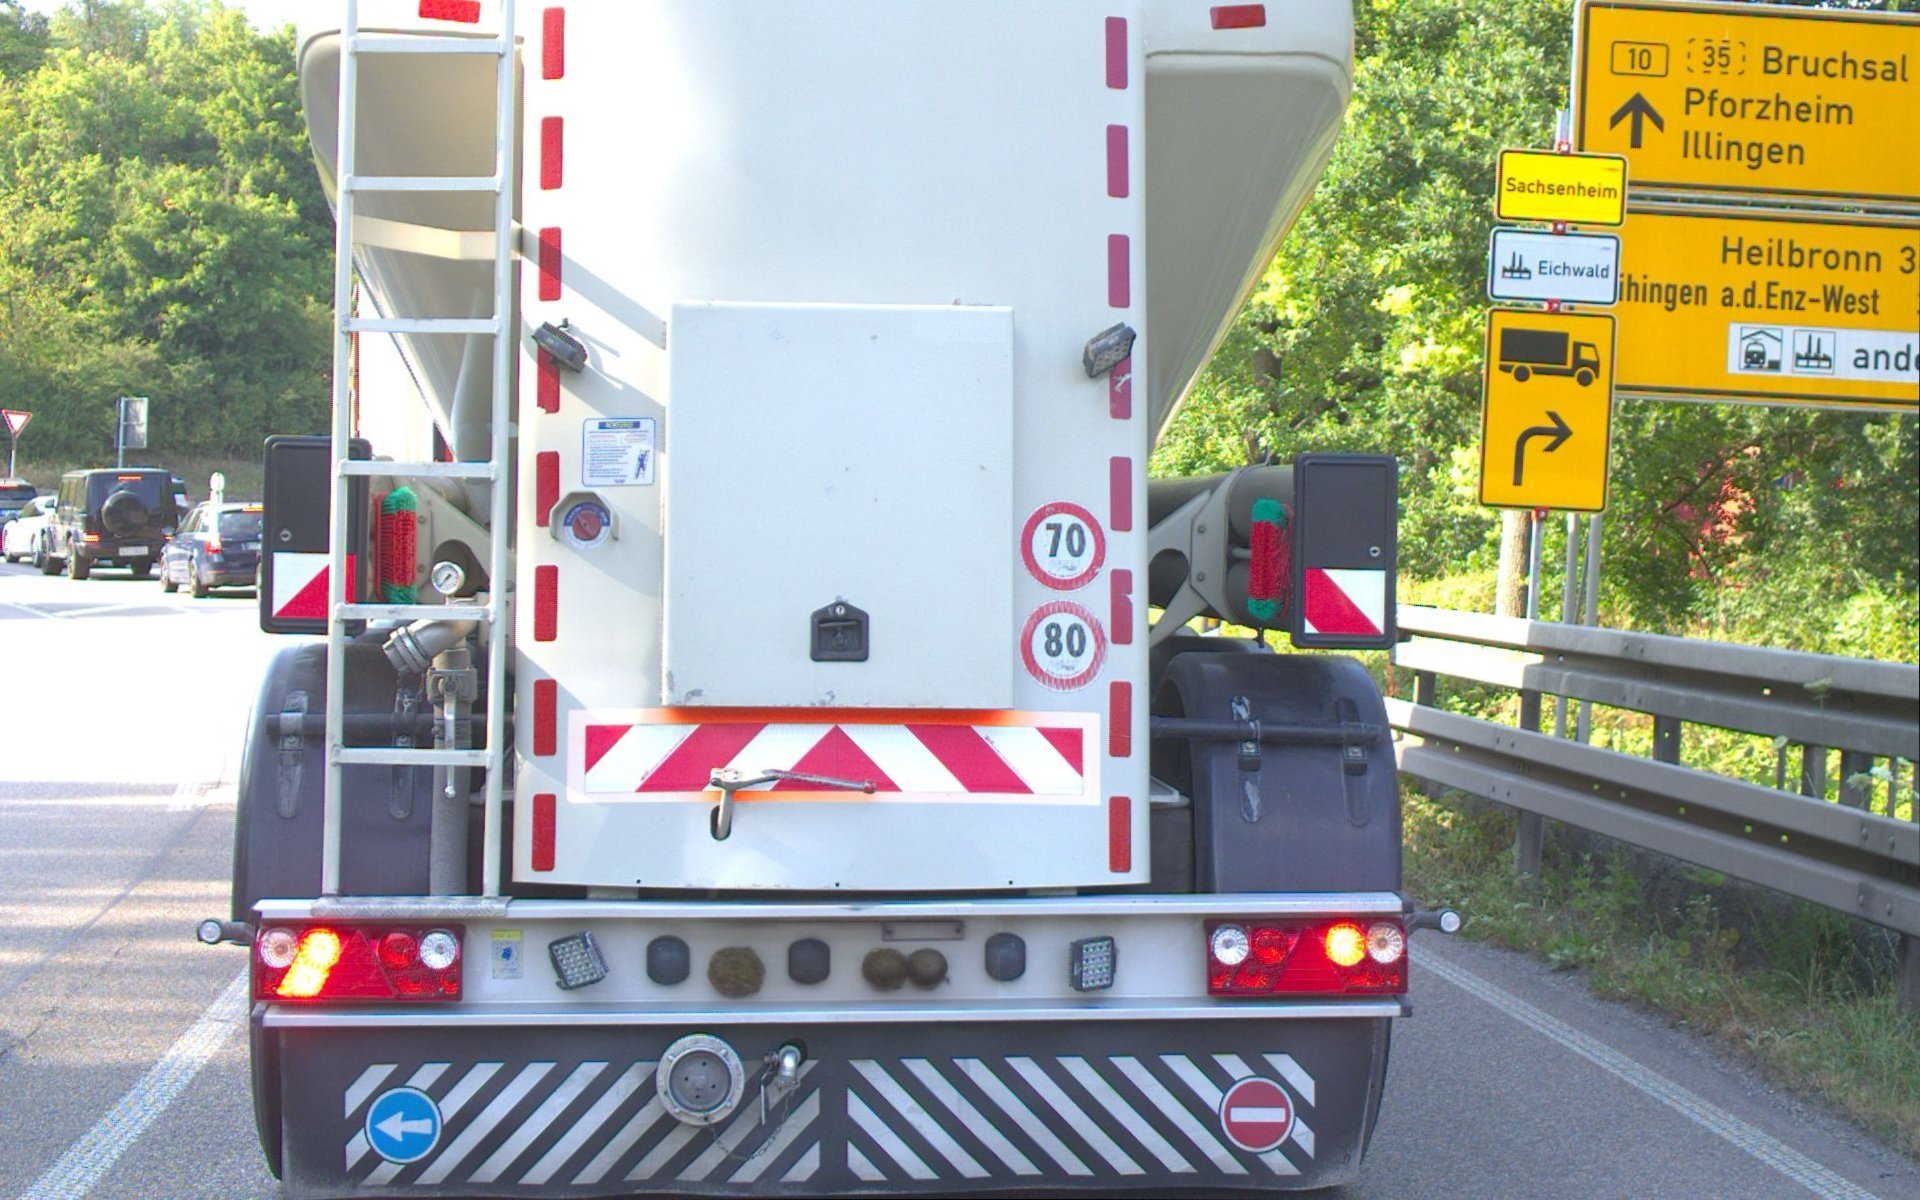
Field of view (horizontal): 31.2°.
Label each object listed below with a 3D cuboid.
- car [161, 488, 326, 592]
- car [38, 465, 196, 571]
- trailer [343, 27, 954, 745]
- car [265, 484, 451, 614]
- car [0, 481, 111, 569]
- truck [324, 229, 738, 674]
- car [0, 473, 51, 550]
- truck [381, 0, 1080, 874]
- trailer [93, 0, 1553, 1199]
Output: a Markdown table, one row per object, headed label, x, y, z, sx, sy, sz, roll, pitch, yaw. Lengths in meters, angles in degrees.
| label | x | y | z | sx | sy | sz | roll | pitch | yaw |
| --- | --- | --- | --- | --- | --- | --- | --- | --- | --- |
| car | -11.232 | -0.965 | 53.700 | 1.867 | 1.559 | 4.001 | -1 | 2 | -21 |
| car | -15.347 | -1.528 | 62.474 | 1.956 | 1.845 | 4.001 | -1 | 3 | -26 |
| trailer | -3.122 | -1.474 | 28.556 | 3.544 | 4.497 | 12.988 | 1 | 1 | -11 |
| car | -8.052 | -0.719 | 45.737 | 1.867 | 1.622 | 4.002 | -1 | 2 | -18 |
| car | -18.890 | -1.558 | 70.645 | 1.867 | 1.677 | 4.001 | 2 | 1 | -27 |
| truck | -4.598 | -1.440 | 35.496 | 3.449 | 4.072 | 6.493 | 1 | 1 | -13 |
| car | -21.346 | -1.992 | 75.406 | 1.867 | 1.589 | 4.001 | 2 | 1 | -27 |
| truck | -1.291 | -0.948 | 17.021 | 2.823 | 4.021 | 5.896 | 1 | 1 | -7 |
| trailer | -0.663 | -1.009 | 11.644 | 2.886 | 4.439 | 9.608 | 1 | 1 | -5 |
